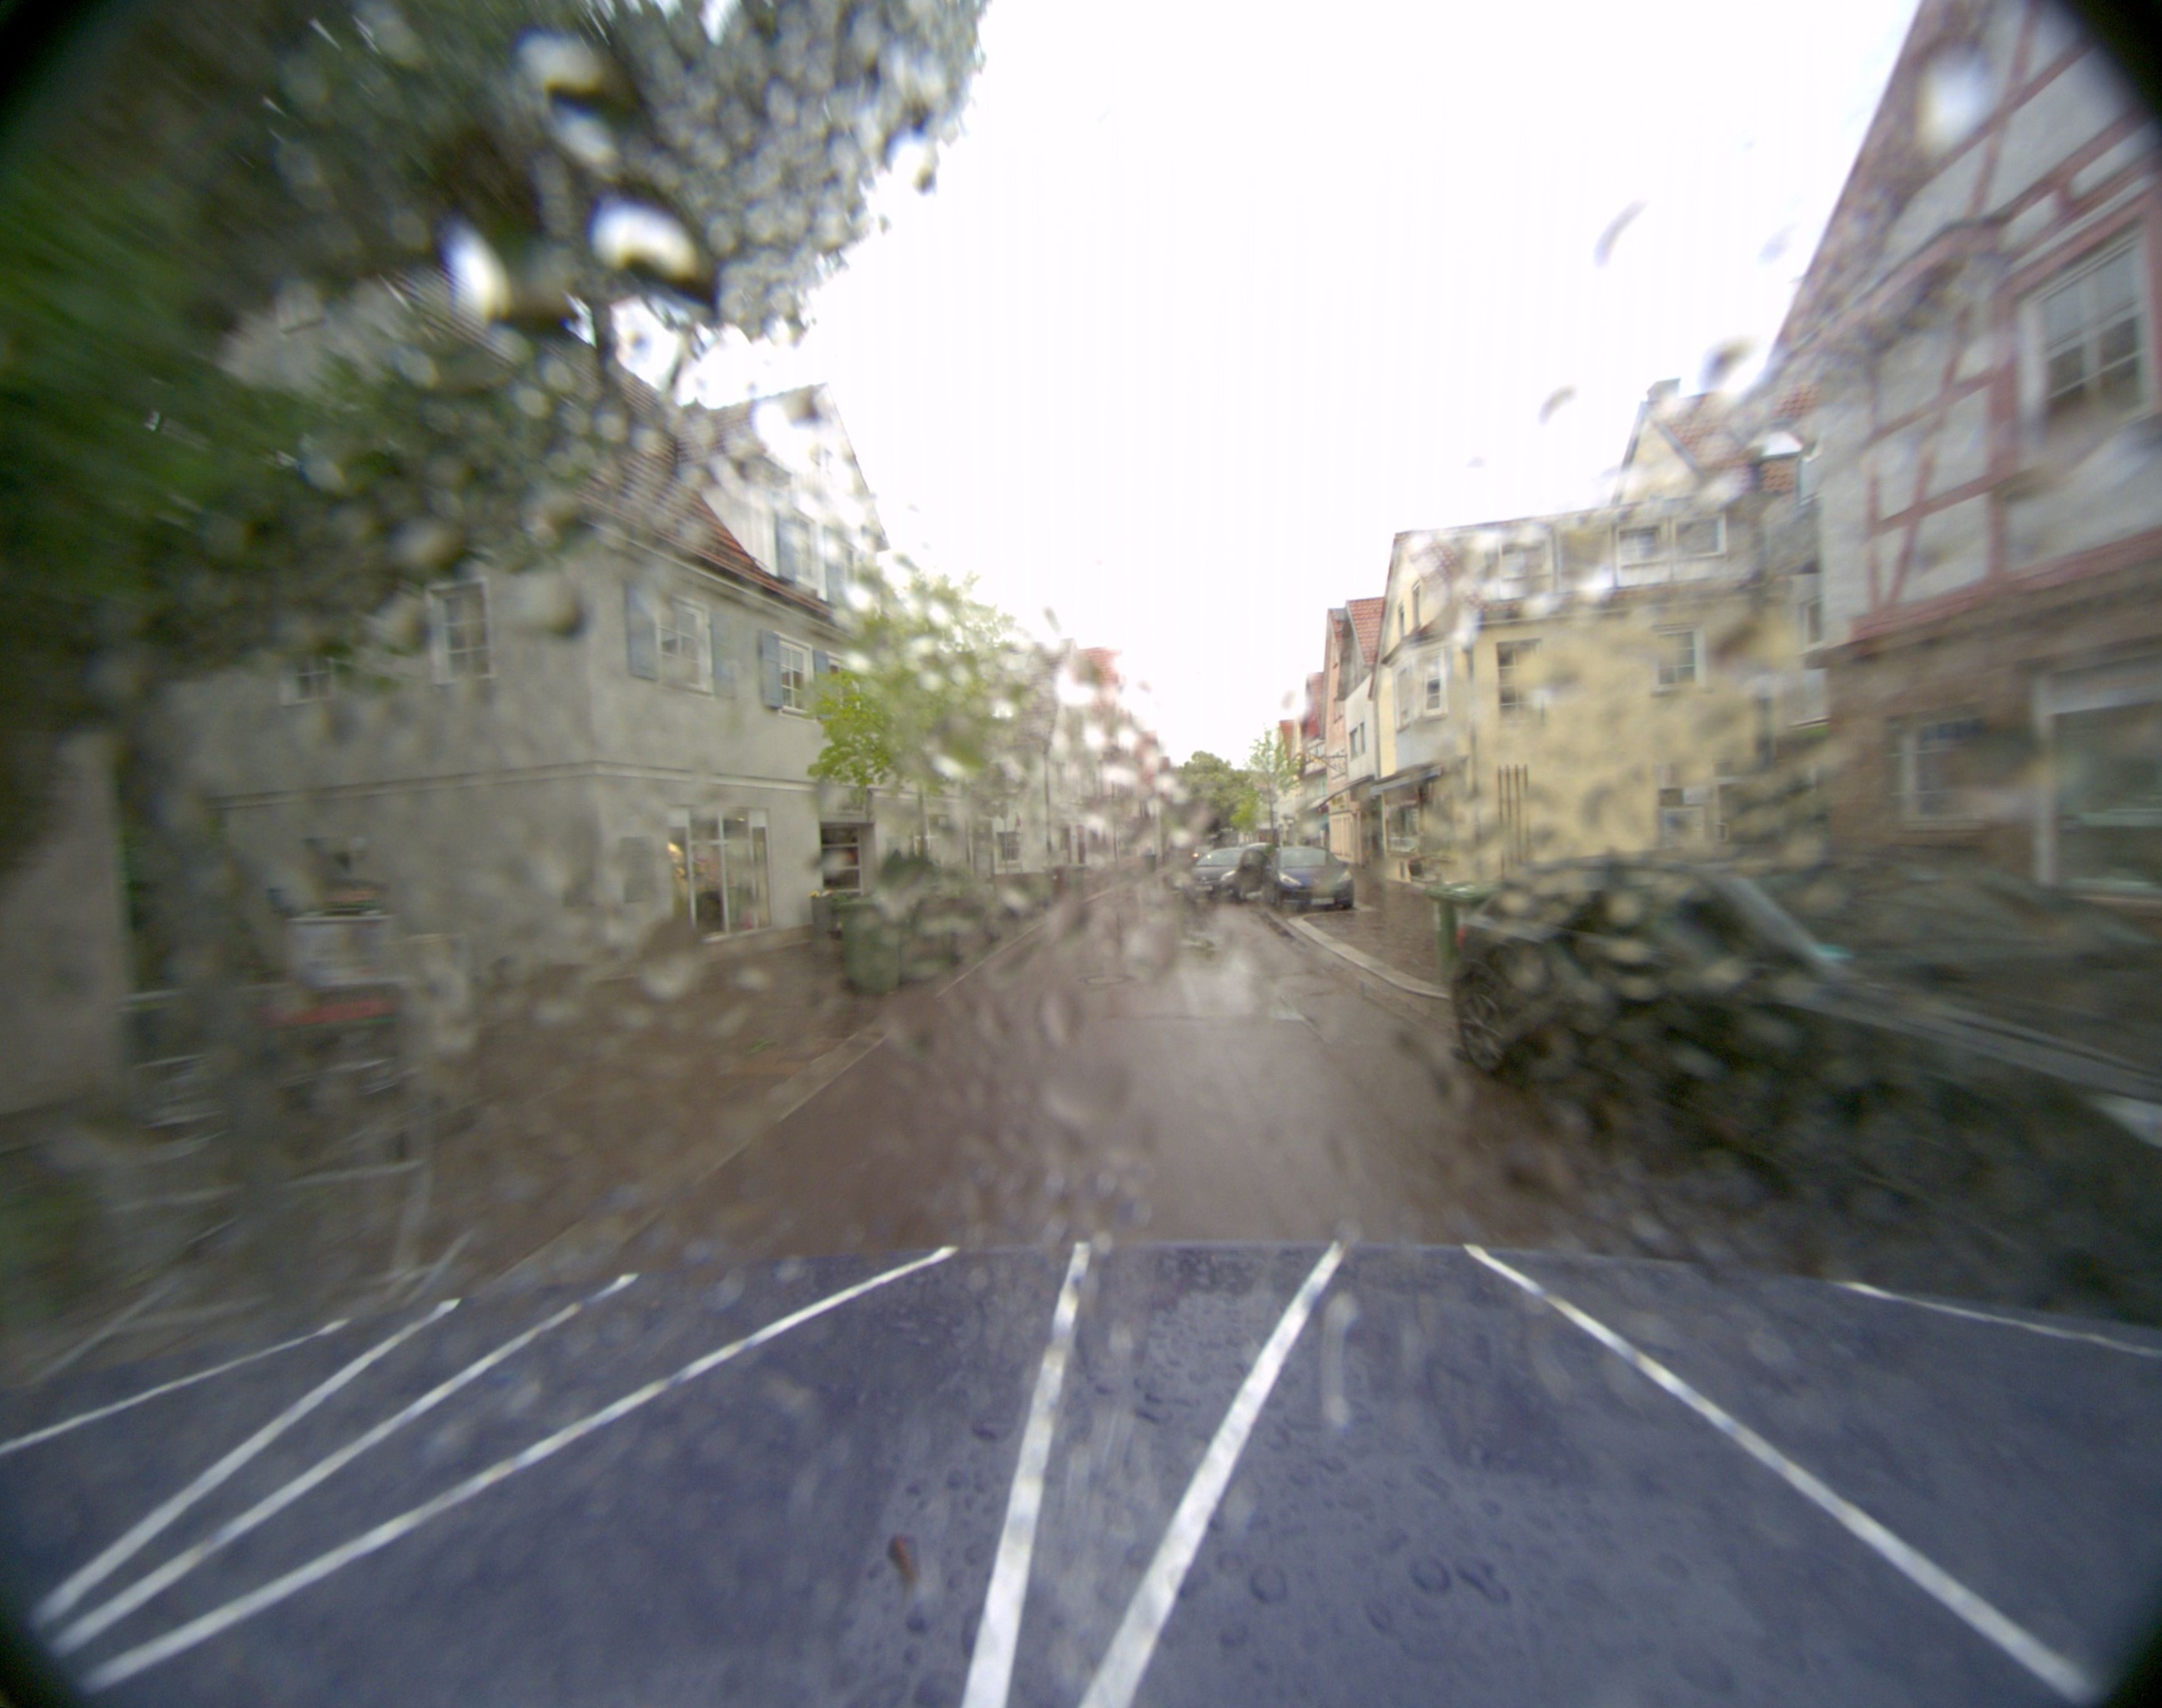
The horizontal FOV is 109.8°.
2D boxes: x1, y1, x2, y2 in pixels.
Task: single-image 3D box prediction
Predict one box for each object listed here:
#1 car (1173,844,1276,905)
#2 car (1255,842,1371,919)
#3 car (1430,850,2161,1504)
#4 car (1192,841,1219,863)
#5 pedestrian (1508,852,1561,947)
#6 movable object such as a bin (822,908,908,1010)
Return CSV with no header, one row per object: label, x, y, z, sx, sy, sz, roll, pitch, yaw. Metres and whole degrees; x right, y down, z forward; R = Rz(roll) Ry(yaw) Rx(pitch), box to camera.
car,4.258,0.541,22.134,1.733,1.547,3.851,-2,1,30
car,5.514,0.554,18.571,1.997,1.520,4.002,-5,0,8
car,3.443,0.800,3.457,1.694,1.477,3.999,-5,1,-1
car,10.446,-0.167,63.617,1.997,1.740,4.003,-2,1,11
pedestrian,6.374,0.628,10.684,0.455,1.300,0.517,-2,1,9
movable object such as a bin,-2.445,1.179,8.670,0.765,1.068,0.537,-2,1,3
